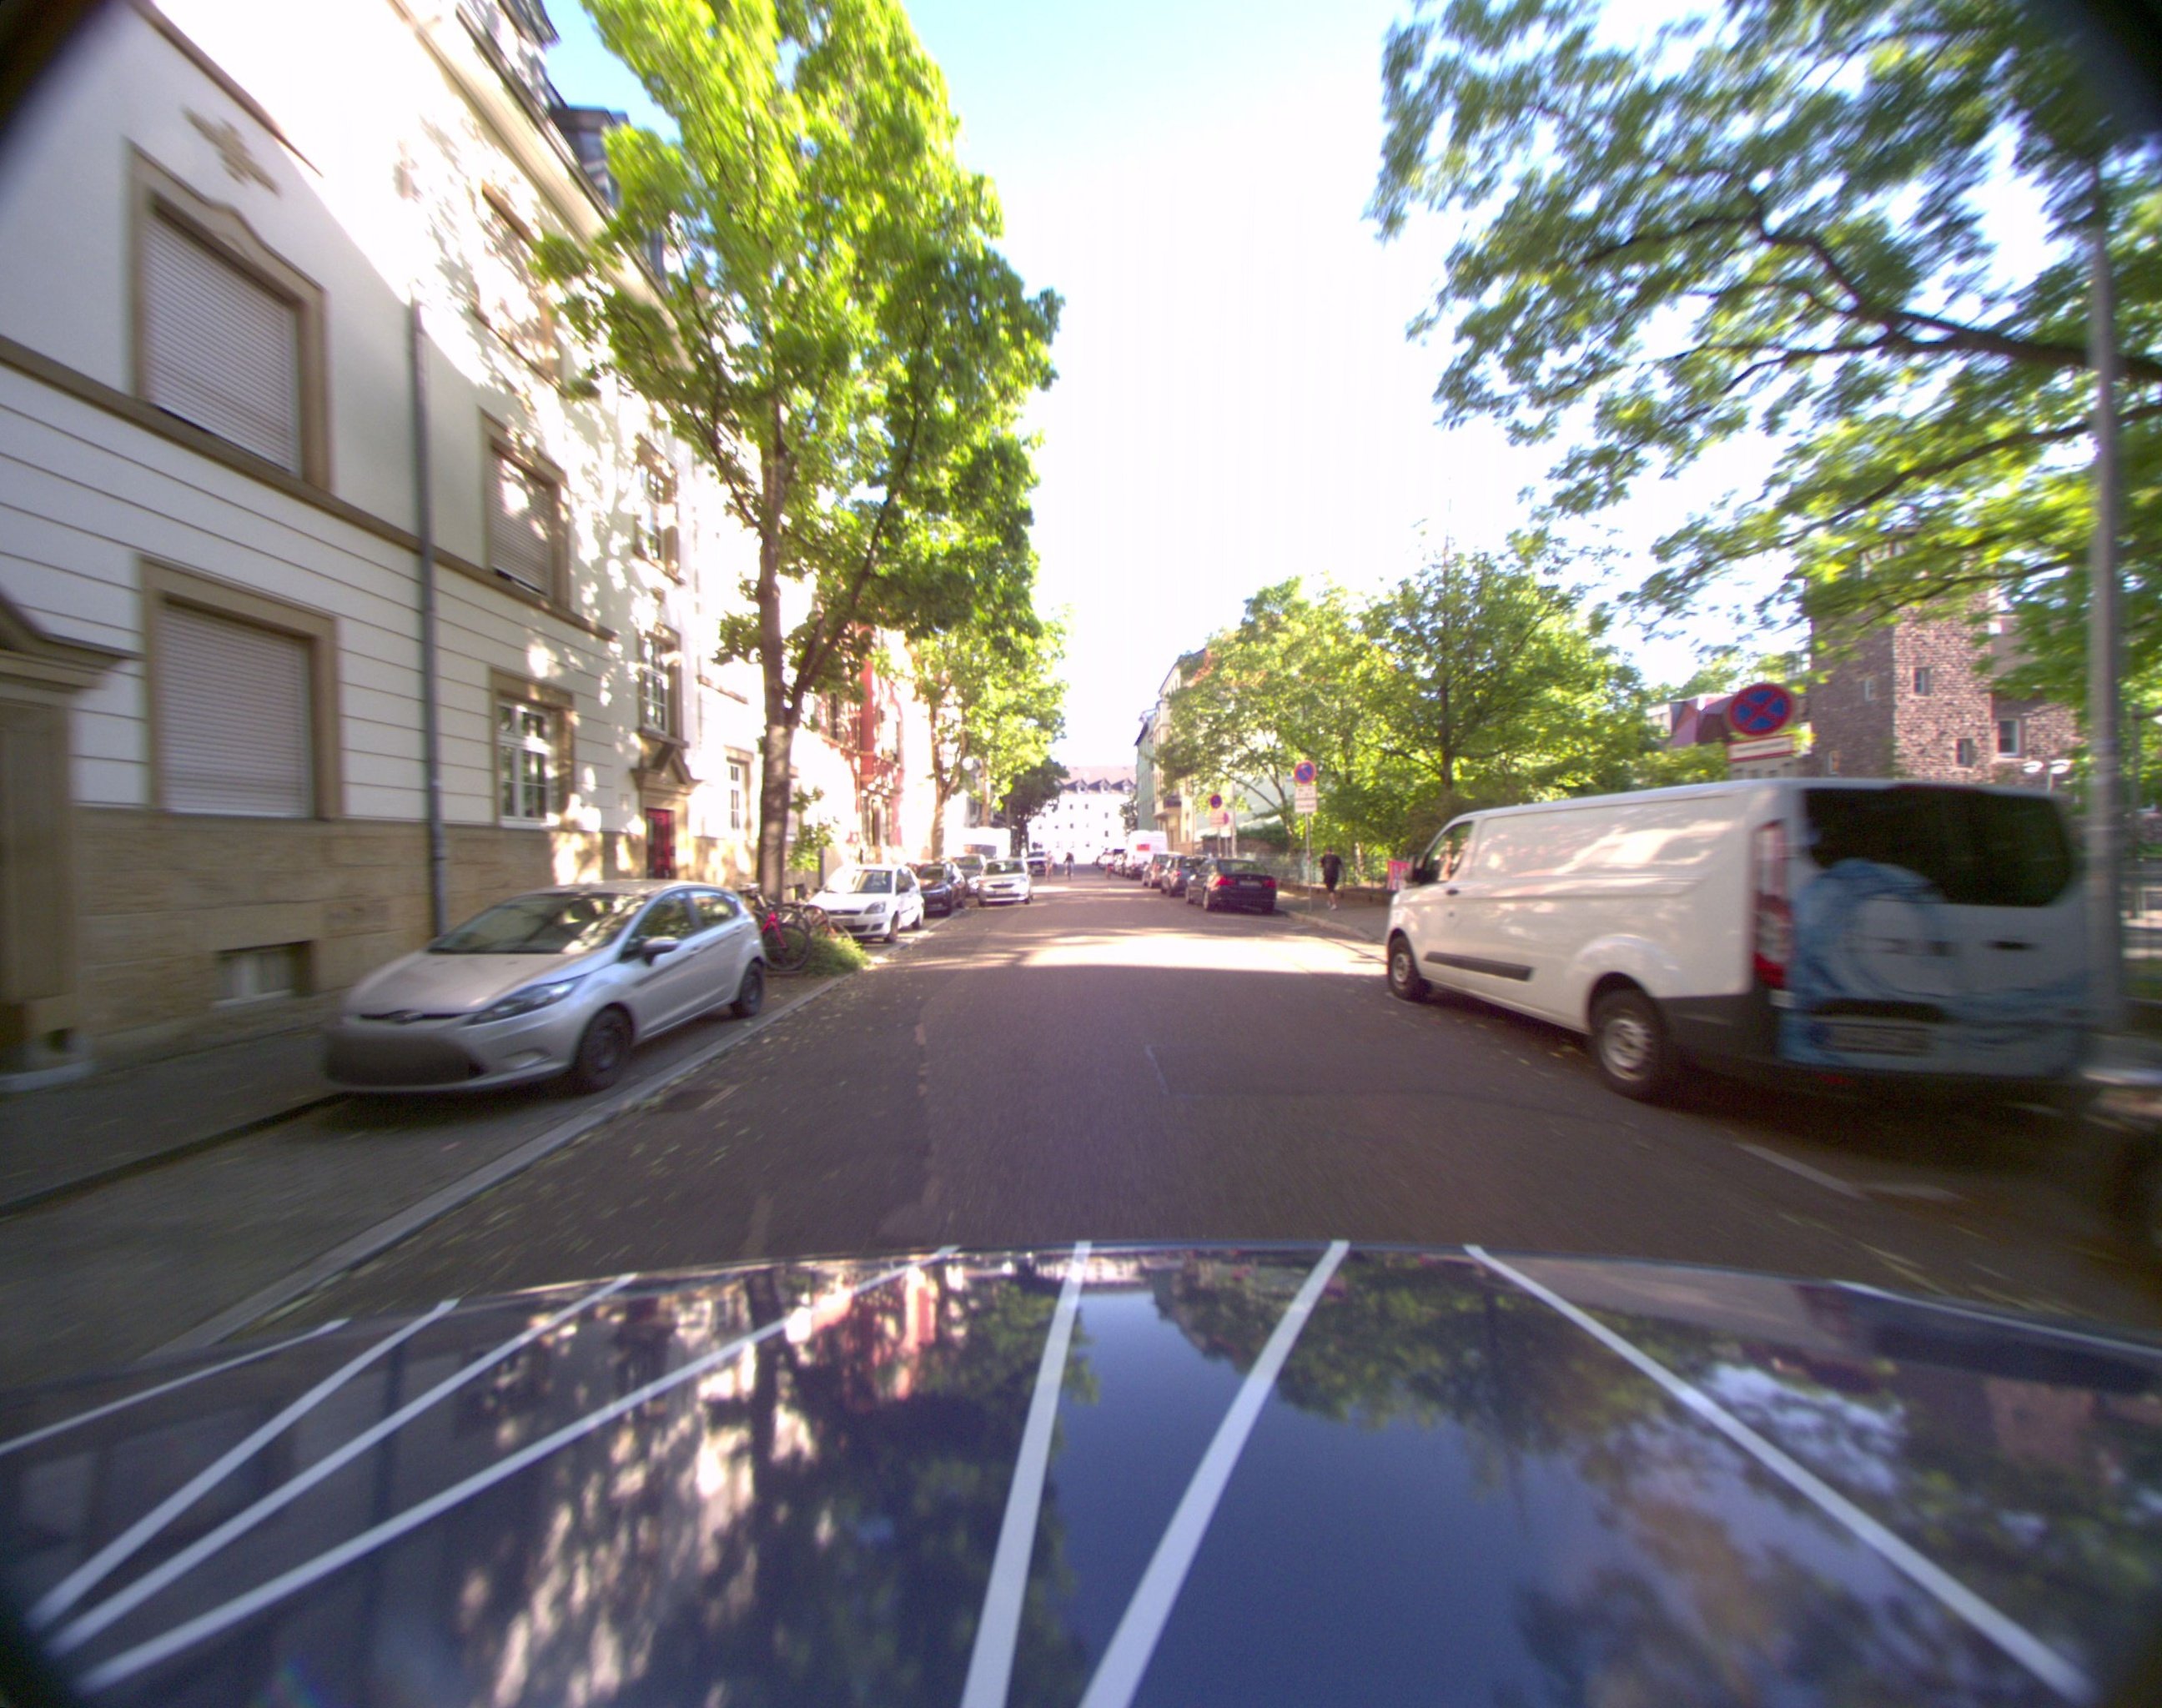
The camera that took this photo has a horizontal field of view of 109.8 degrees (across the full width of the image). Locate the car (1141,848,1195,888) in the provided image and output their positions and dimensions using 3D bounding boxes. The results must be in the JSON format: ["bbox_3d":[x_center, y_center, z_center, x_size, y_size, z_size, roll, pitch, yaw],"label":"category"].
[{"bbox_3d":[3.746,0.564,33.412,1.785,1.581,4.468,1,1,-1],"label":"car"}]

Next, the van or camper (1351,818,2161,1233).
[{"bbox_3d":[4.316,0.811,6.389,1.927,1.968,5.460,2,1,-2],"label":"van or camper"}]

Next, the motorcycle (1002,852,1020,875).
[{"bbox_3d":[-4.681,0.596,50.741,0.932,1.477,2.138,-2,1,0],"label":"motorcycle"}]

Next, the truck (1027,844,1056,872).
[{"bbox_3d":[-2.910,0.247,56.605,1.833,1.938,5.539,-2,0,-1],"label":"truck"}]

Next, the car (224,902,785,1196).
[{"bbox_3d":[-4.155,1.271,6.503,1.626,1.386,4.156,-1,1,0],"label":"car"}]

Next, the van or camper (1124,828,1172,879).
[{"bbox_3d":[3.812,-0.039,44.249,2.134,2.753,5.850,1,1,-1],"label":"van or camper"}]

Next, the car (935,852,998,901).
[{"bbox_3d":[-4.417,0.802,30.015,1.890,1.706,4.942,-1,1,-2],"label":"car"}]

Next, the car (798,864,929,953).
[{"bbox_3d":[-4.243,0.996,15.396,1.601,1.479,3.747,0,1,-1],"label":"car"}]

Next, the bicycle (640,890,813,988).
[{"bbox_3d":[-4.758,1.128,10.294,1.974,1.222,0.760,1,1,0],"label":"bicycle"}]

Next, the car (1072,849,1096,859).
[{"bbox_3d":[0.500,-0.066,122.195,3.614,1.440,1.553,-2,2,-9],"label":"car"}]

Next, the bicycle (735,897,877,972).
[{"bbox_3d":[-4.236,1.233,11.785,1.974,1.067,0.599,1,1,0],"label":"bicycle"}]

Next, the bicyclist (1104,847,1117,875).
[{"bbox_3d":[1.671,0.389,42.904,0.653,1.500,0.624,-2,1,1],"label":"bicyclist"}]

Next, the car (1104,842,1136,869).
[{"bbox_3d":[3.338,0.087,65.890,2.258,2.156,5.241,1,1,-3],"label":"car"}]

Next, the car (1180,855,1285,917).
[{"bbox_3d":[4.004,0.787,20.915,1.718,1.387,4.778,3,1,-2],"label":"car"}]

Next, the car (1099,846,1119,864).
[{"bbox_3d":[3.001,0.115,81.923,1.776,1.832,4.414,1,1,-3],"label":"car"}]

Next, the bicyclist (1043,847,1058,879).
[{"bbox_3d":[-1.662,0.500,41.560,0.716,1.679,0.981,-4,1,-1],"label":"bicyclist"}]

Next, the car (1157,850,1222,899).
[{"bbox_3d":[3.788,0.678,27.210,1.680,1.563,4.151,2,0,0],"label":"car"}]

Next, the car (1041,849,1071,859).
[{"bbox_3d":[-4.032,0.032,121.524,4.493,1.498,1.944,-1,1,-7],"label":"car"}]

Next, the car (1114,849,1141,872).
[{"bbox_3d":[3.343,0.421,55.090,1.639,1.543,4.087,0,1,-2],"label":"car"}]

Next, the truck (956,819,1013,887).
[{"bbox_3d":[-4.500,-0.062,36.410,2.079,2.951,6.107,1,0,-2],"label":"truck"}]

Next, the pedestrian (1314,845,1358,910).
[{"bbox_3d":[6.301,0.580,18.820,0.883,1.568,0.529,-2,1,0],"label":"pedestrian"}]

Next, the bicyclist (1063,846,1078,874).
[{"bbox_3d":[-0.592,0.337,43.284,0.757,1.556,0.981,-3,1,2],"label":"bicyclist"}]

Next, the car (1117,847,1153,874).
[{"bbox_3d":[3.512,0.388,50.021,1.880,1.676,4.968,1,0,-1],"label":"car"}]

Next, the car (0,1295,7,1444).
[{"bbox_3d":[-4.104,1.103,0.566,1.524,1.502,3.543,-1,1,0],"label":"car"}]

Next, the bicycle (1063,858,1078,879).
[{"bbox_3d":[-0.579,0.823,43.325,0.741,1.054,1.858,-2,1,2],"label":"bicycle"}]

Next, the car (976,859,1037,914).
[{"bbox_3d":[-2.358,1.008,24.966,1.683,1.535,3.799,-2,1,-2],"label":"car"}]

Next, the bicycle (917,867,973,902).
[{"bbox_3d":[-4.677,1.042,26.154,1.816,1.160,0.569,1,1,-2],"label":"bicycle"}]

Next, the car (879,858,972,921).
[{"bbox_3d":[-4.291,0.913,21.616,1.791,1.505,4.458,-2,1,-2],"label":"car"}]

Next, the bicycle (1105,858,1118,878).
[{"bbox_3d":[1.697,0.760,42.948,0.666,1.071,1.685,-2,1,1],"label":"bicycle"}]

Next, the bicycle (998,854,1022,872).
[{"bbox_3d":[-5.266,0.686,56.316,1.764,1.297,0.586,-1,1,-2],"label":"bicycle"}]

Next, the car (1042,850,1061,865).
[{"bbox_3d":[-3.286,0.380,85.500,1.807,1.527,3.964,-2,1,1],"label":"car"}]

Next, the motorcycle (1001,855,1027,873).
[{"bbox_3d":[-4.750,0.720,53.994,1.768,1.233,0.700,-2,1,-40],"label":"motorcycle"}]

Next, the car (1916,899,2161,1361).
[{"bbox_3d":[4.531,0.949,0.877,2.006,1.449,4.605,1,1,-1],"label":"car"}]

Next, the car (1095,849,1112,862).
[{"bbox_3d":[2.814,0.172,95.506,1.771,1.444,4.206,2,0,-2],"label":"car"}]

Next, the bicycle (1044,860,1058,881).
[{"bbox_3d":[-1.632,0.911,41.567,0.707,1.039,1.857,-4,1,-2],"label":"bicycle"}]
